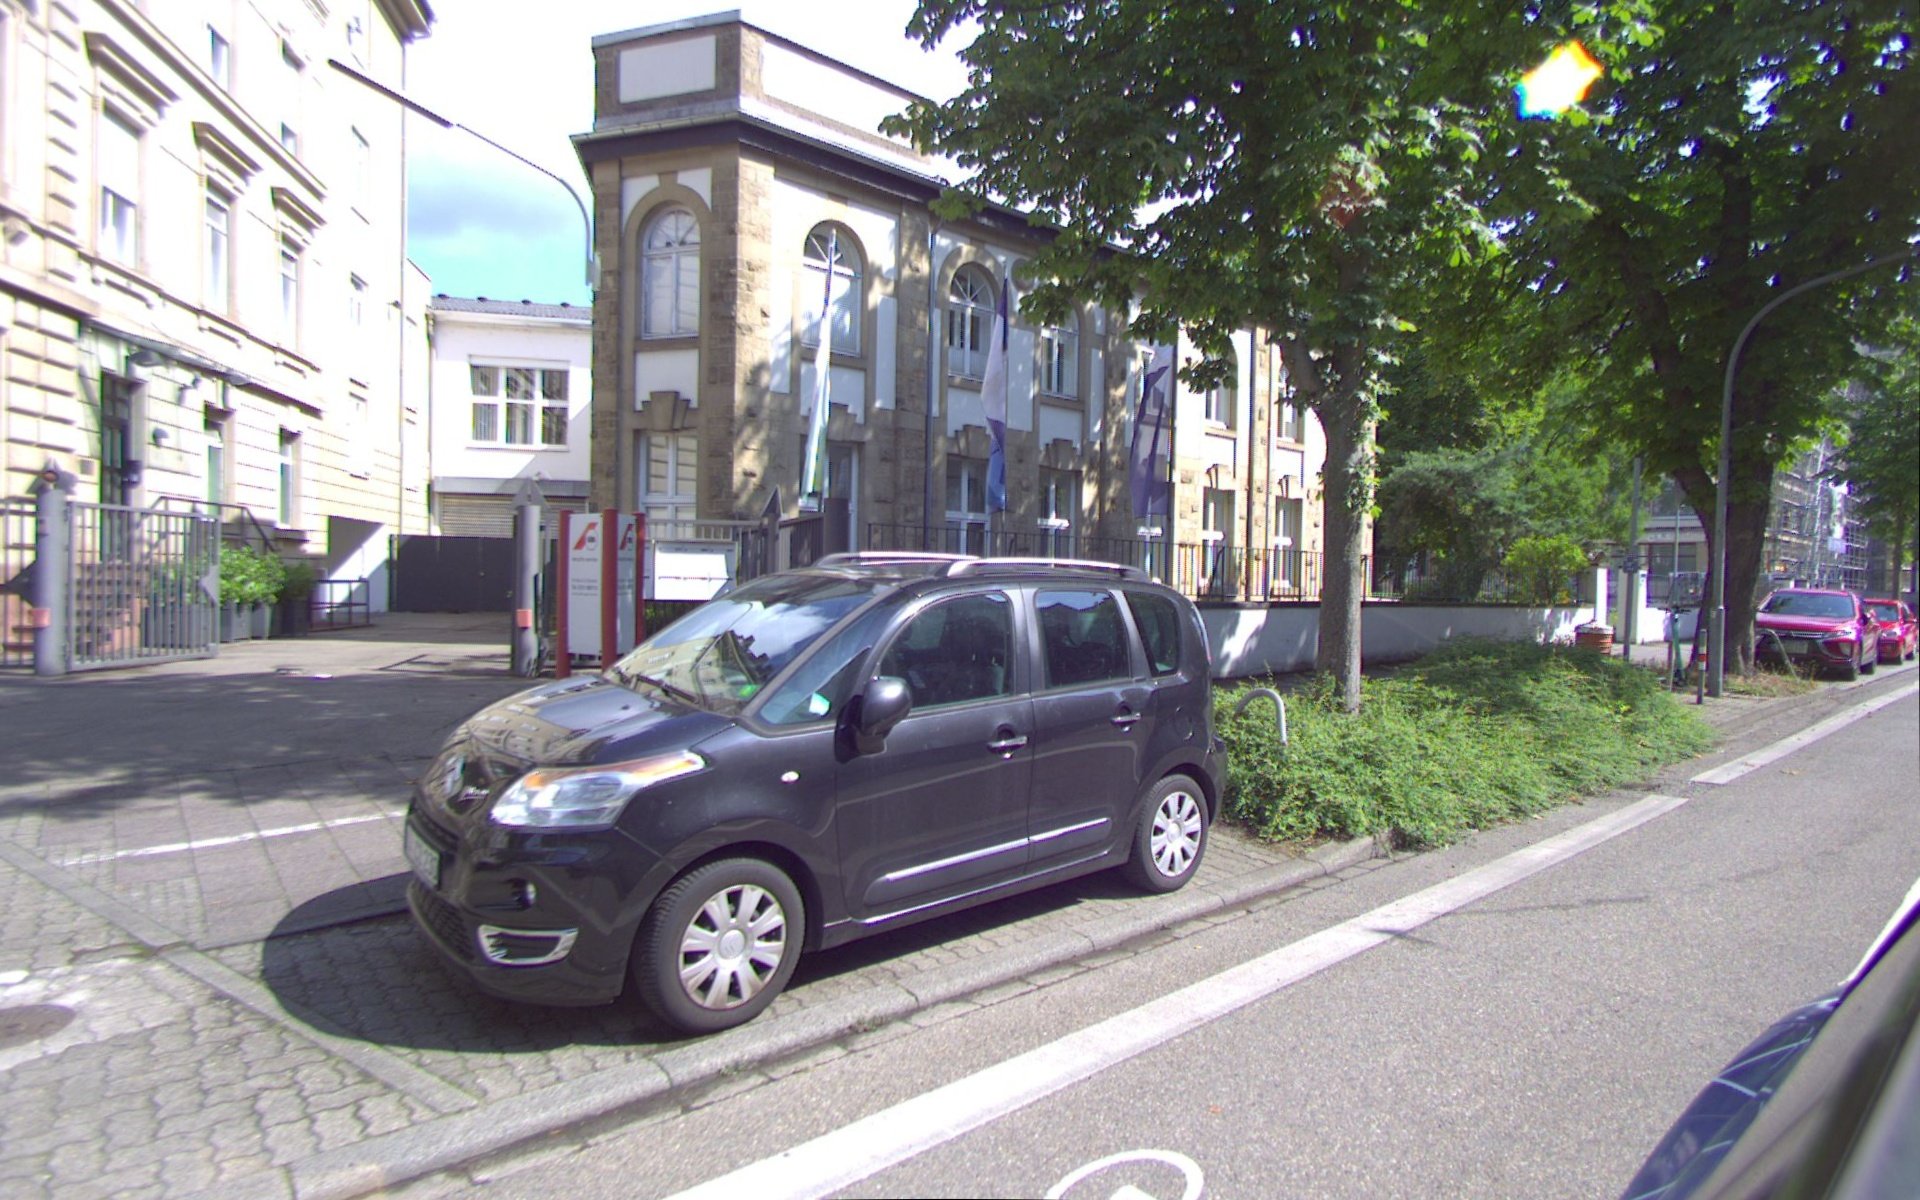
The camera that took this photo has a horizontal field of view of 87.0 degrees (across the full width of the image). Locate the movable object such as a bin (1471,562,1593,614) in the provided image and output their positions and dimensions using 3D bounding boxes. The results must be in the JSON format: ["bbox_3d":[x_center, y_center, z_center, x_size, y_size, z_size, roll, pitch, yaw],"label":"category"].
[{"bbox_3d":[31.117,-0.651,55.121,5.331,2.474,2.000,3,1,1],"label":"movable object such as a bin"}]

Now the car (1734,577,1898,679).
[{"bbox_3d":[16.620,0.455,19.584,4.210,1.696,1.879,0,3,-43],"label":"car"}]

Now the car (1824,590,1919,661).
[{"bbox_3d":[22.185,0.559,24.362,3.535,1.445,1.603,-1,5,-43],"label":"car"}]

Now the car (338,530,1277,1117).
[{"bbox_3d":[-0.392,0.552,4.788,4.131,1.610,1.700,-1,4,-42],"label":"car"}]

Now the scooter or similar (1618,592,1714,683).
[{"bbox_3d":[10.128,0.534,14.524,1.233,1.252,0.343,2,3,-16],"label":"scooter or similar"}]
